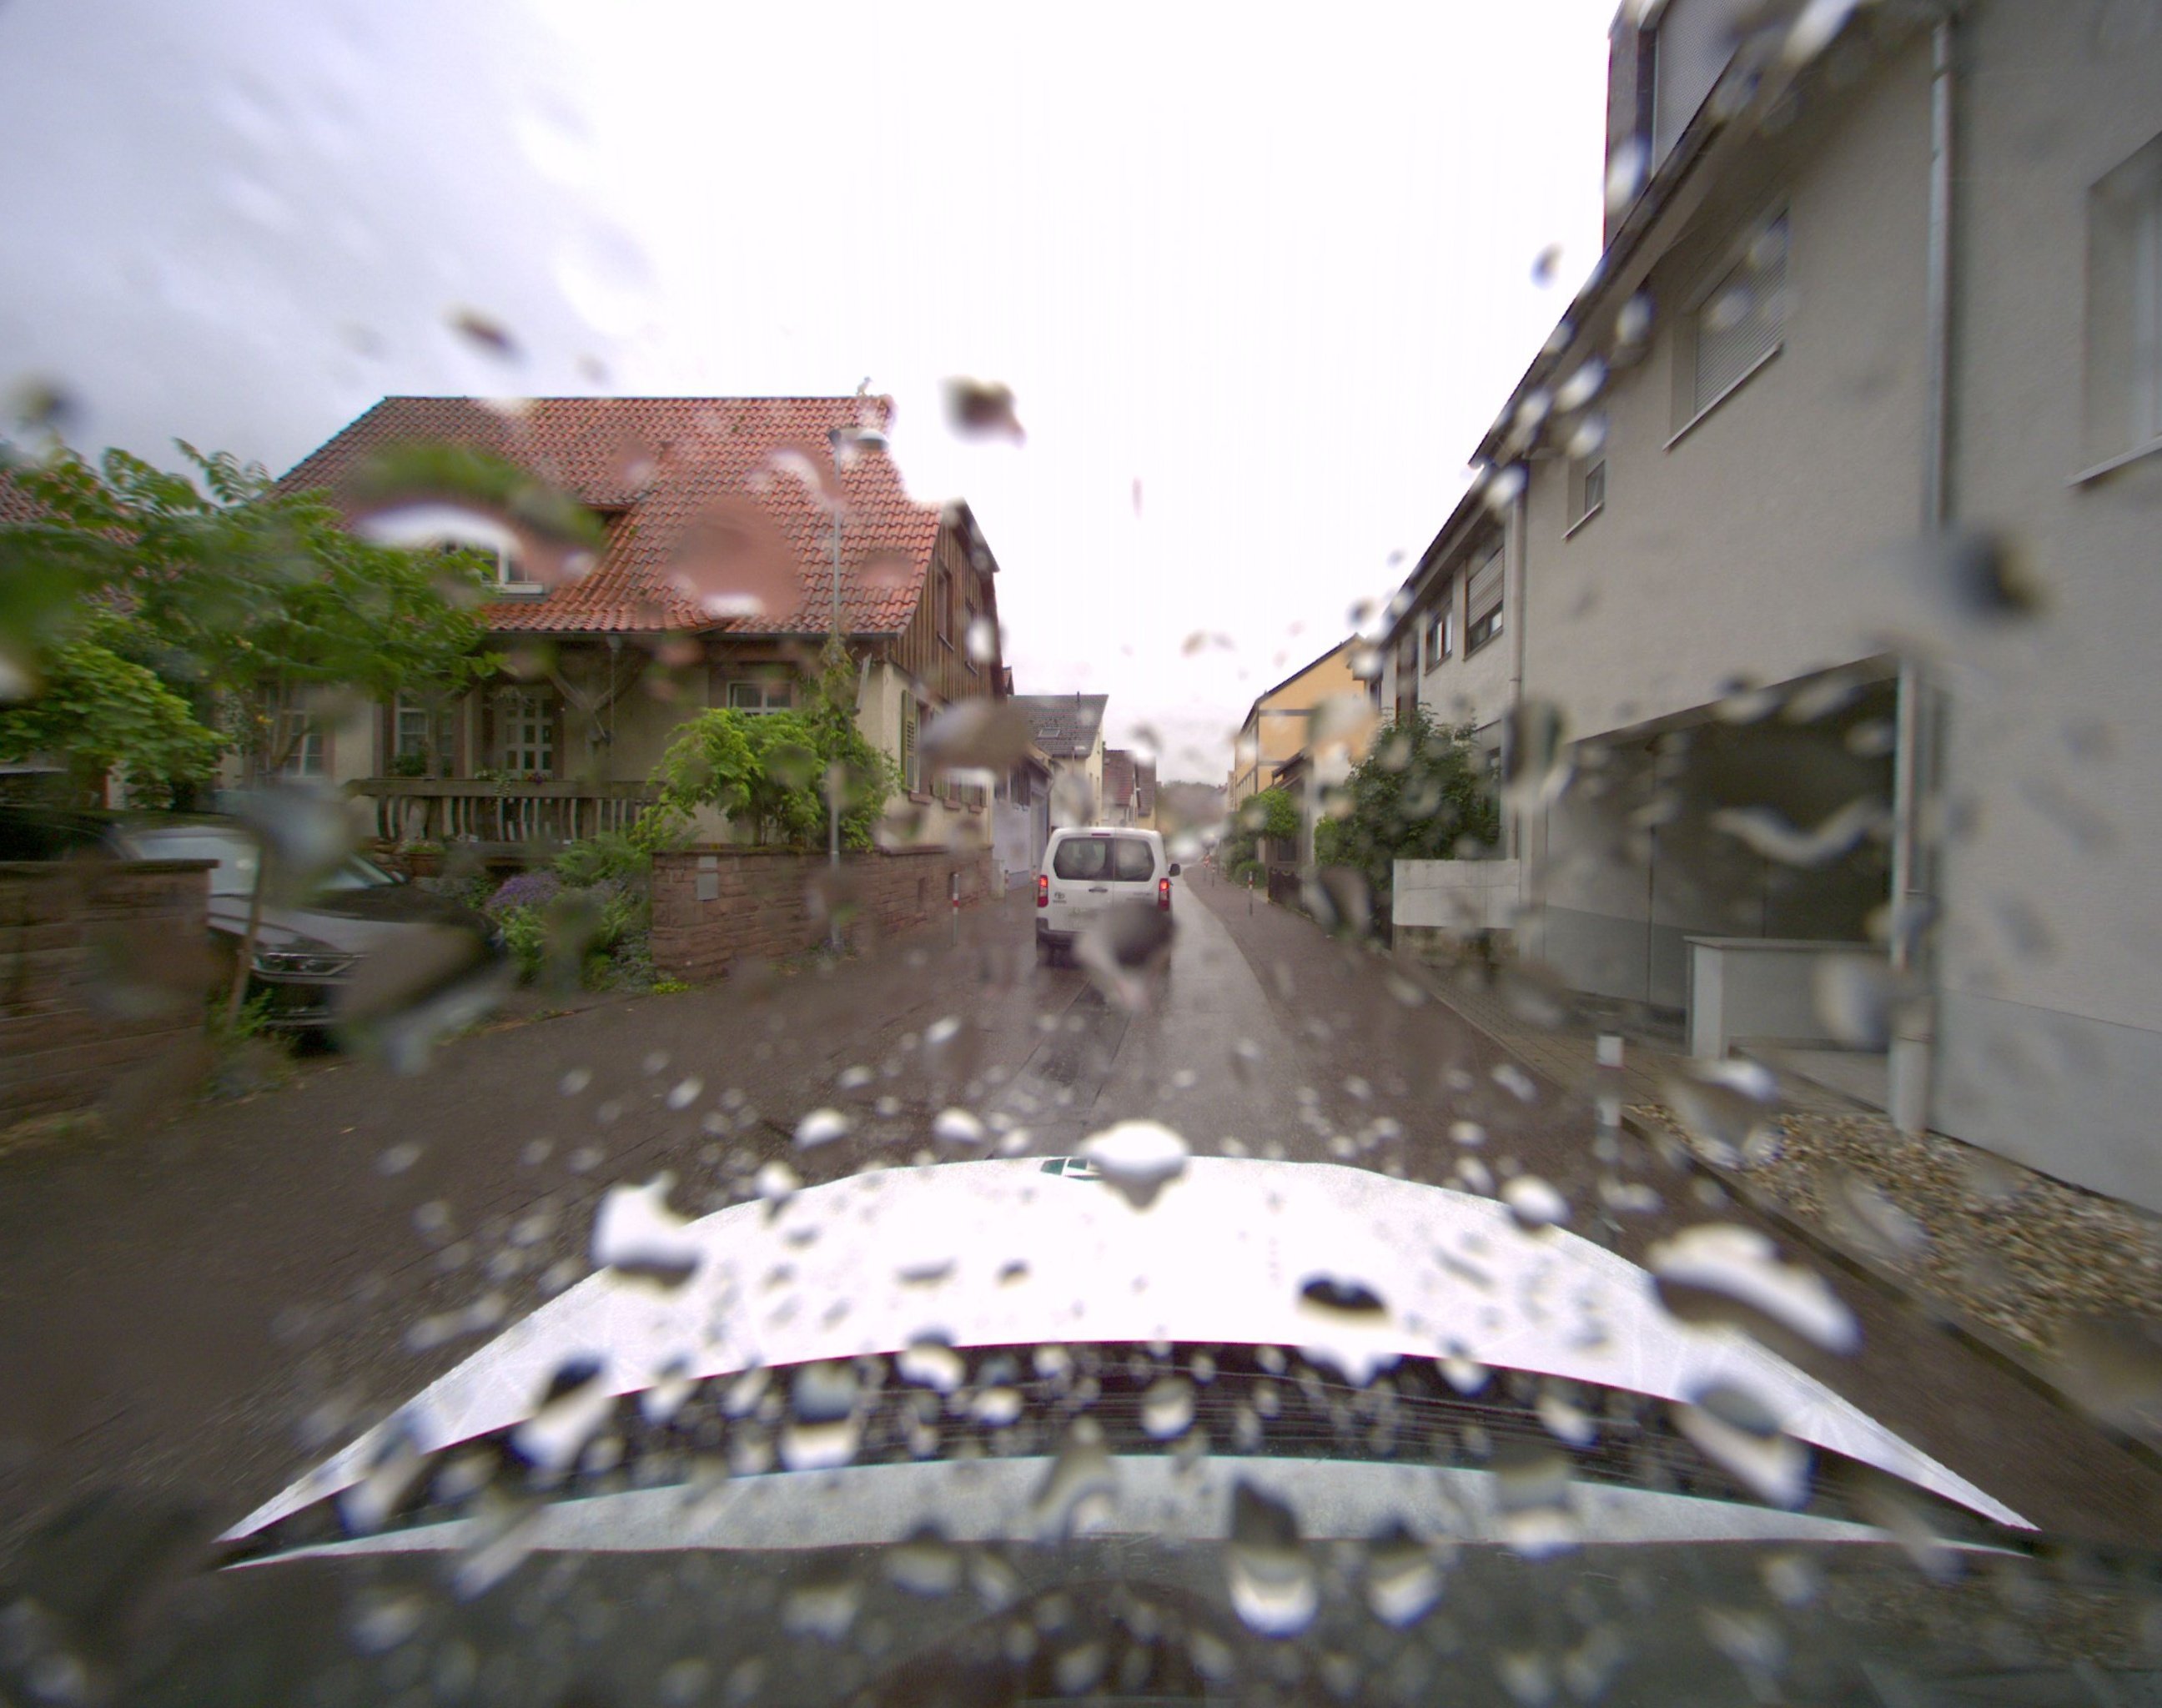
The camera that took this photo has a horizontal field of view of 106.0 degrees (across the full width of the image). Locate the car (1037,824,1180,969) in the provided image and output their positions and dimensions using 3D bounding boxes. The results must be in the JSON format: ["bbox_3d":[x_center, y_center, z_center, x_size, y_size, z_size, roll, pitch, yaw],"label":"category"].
[{"bbox_3d":[0.512,0.515,12.081,1.766,1.780,4.006,0,0,5],"label":"car"}]

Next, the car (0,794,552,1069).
[{"bbox_3d":[-6.542,0.427,6.315,3.960,1.425,1.742,6,1,14],"label":"car"}]

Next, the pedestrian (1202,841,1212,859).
[{"bbox_3d":[13.803,-0.423,89.405,1.045,1.892,0.879,0,0,6],"label":"pedestrian"}]

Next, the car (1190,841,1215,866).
[{"bbox_3d":[10.101,-0.033,67.438,1.982,2.013,4.011,0,0,9],"label":"car"}]

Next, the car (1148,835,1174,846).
[{"bbox_3d":[12.163,-2.101,124.284,3.437,1.559,1.984,-4,2,-25],"label":"car"}]

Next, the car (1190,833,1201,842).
[{"bbox_3d":[20.698,-3.012,146.819,1.578,1.441,3.780,2,1,13],"label":"car"}]
